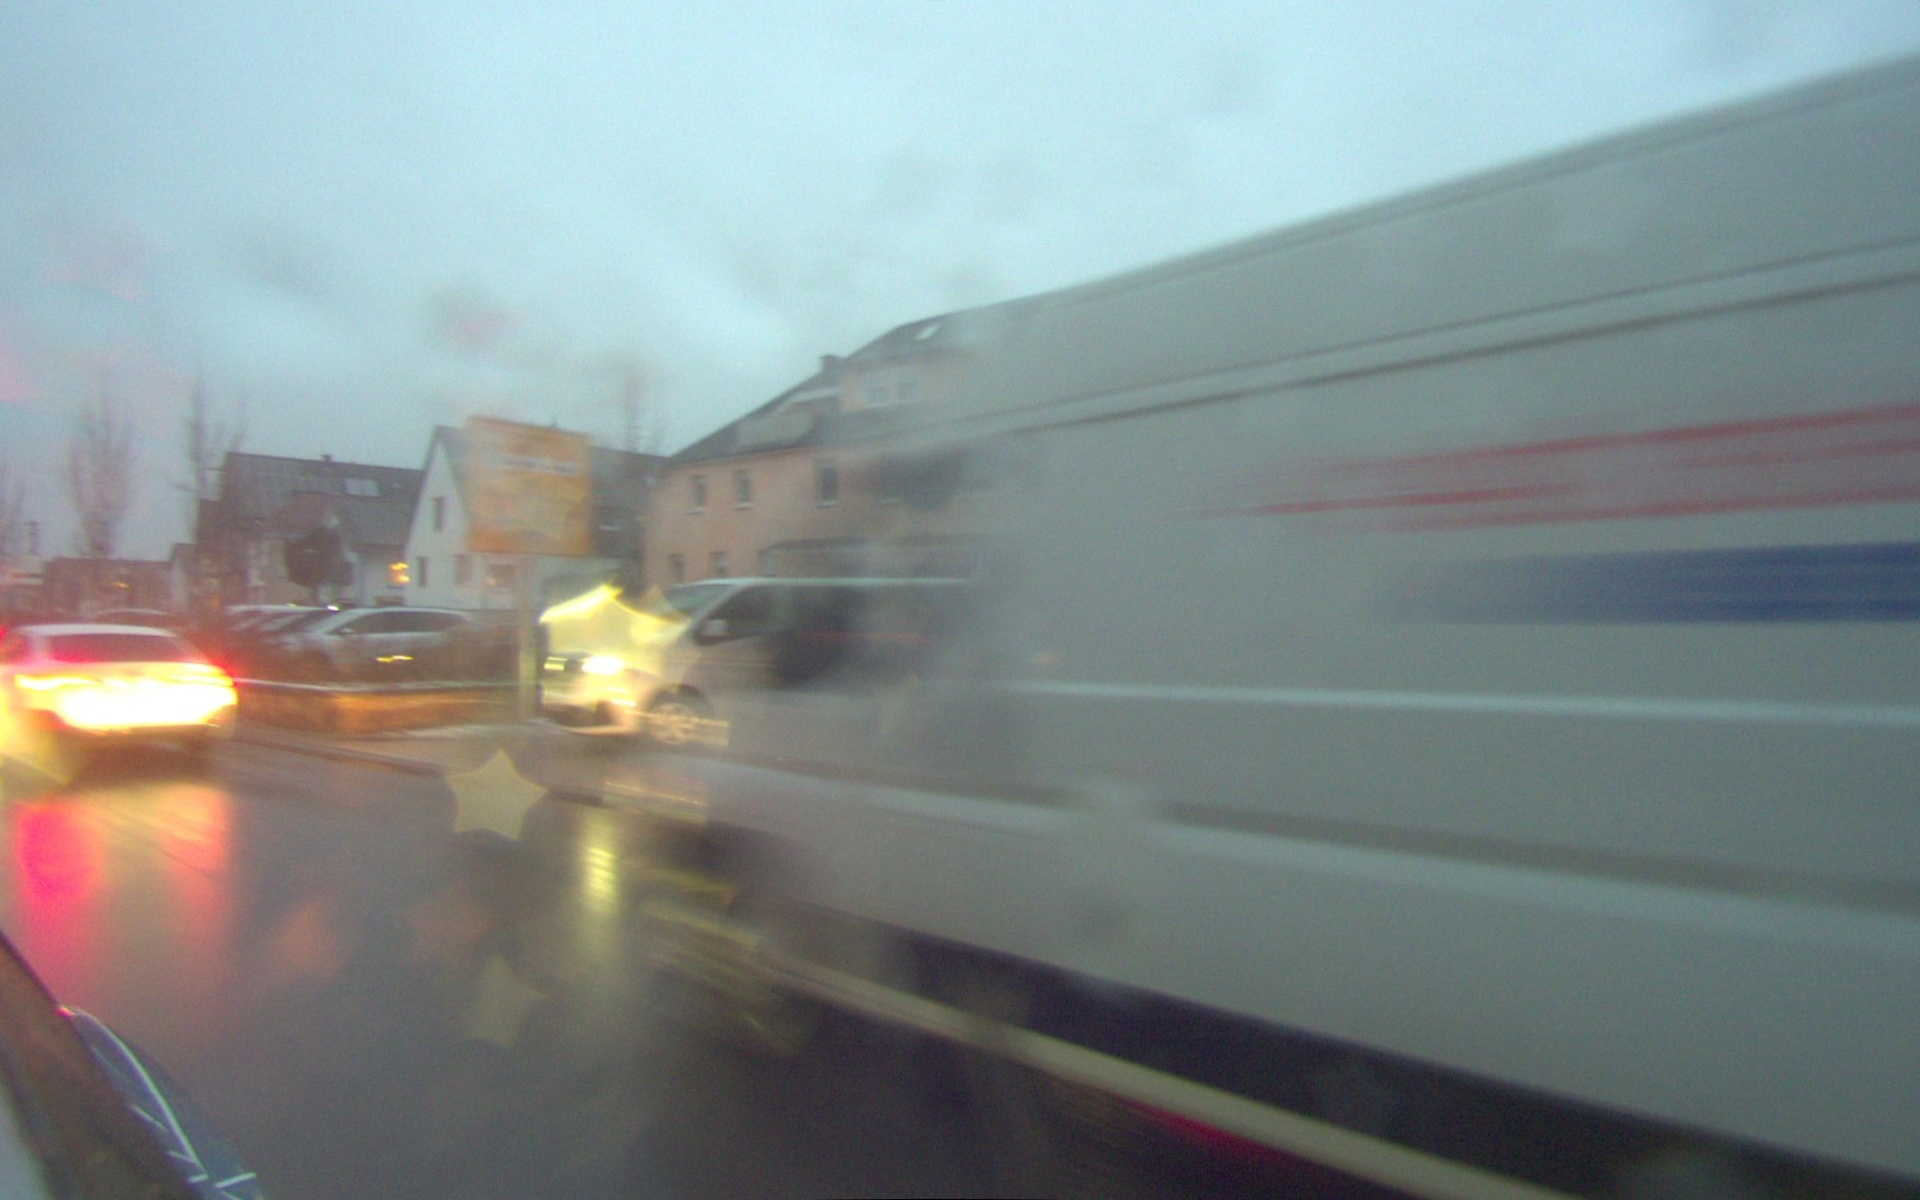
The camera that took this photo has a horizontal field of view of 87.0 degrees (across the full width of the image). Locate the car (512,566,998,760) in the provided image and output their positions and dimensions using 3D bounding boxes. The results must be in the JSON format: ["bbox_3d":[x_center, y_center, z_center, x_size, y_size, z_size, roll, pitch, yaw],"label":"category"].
[{"bbox_3d":[-2.361,0.668,12.742,5.686,1.961,1.995,0,-2,-38],"label":"car"}]

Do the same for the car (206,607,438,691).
[{"bbox_3d":[-15.737,1.197,25.159,1.997,1.881,4.459,-2,-3,38],"label":"car"}]

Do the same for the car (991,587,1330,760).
[{"bbox_3d":[2.554,0.759,12.028,2.153,1.645,4.390,-1,-2,39],"label":"car"}]

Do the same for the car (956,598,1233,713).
[{"bbox_3d":[2.349,0.962,16.805,4.696,1.648,2.002,4,-5,-42],"label":"car"}]

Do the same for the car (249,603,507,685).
[{"bbox_3d":[-13.424,1.033,23.603,1.999,1.697,4.815,-3,-4,40],"label":"car"}]

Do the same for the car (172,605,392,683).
[{"bbox_3d":[-17.748,1.146,26.693,1.866,1.881,4.459,-2,-3,38],"label":"car"}]

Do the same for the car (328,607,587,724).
[{"bbox_3d":[-9.396,1.245,19.197,1.747,1.966,3.989,-2,-5,38],"label":"car"}]

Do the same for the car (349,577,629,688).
[{"bbox_3d":[-8.066,0.578,17.614,1.998,1.697,3.948,-2,-3,38],"label":"car"}]

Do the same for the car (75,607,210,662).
[{"bbox_3d":[-31.940,1.396,39.622,1.747,1.966,3.758,-2,-5,38],"label":"car"}]

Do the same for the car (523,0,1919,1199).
[{"bbox_3d":[1.349,0.159,2.795,6.138,2.509,2.172,-2,-3,40],"label":"car"}]

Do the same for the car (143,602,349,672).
[{"bbox_3d":[-19.922,1.044,28.414,1.842,1.815,4.371,-2,-3,38],"label":"car"}]

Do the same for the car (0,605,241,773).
[{"bbox_3d":[-9.964,0.897,11.376,4.541,1.530,1.808,-2,-3,38],"label":"car"}]
